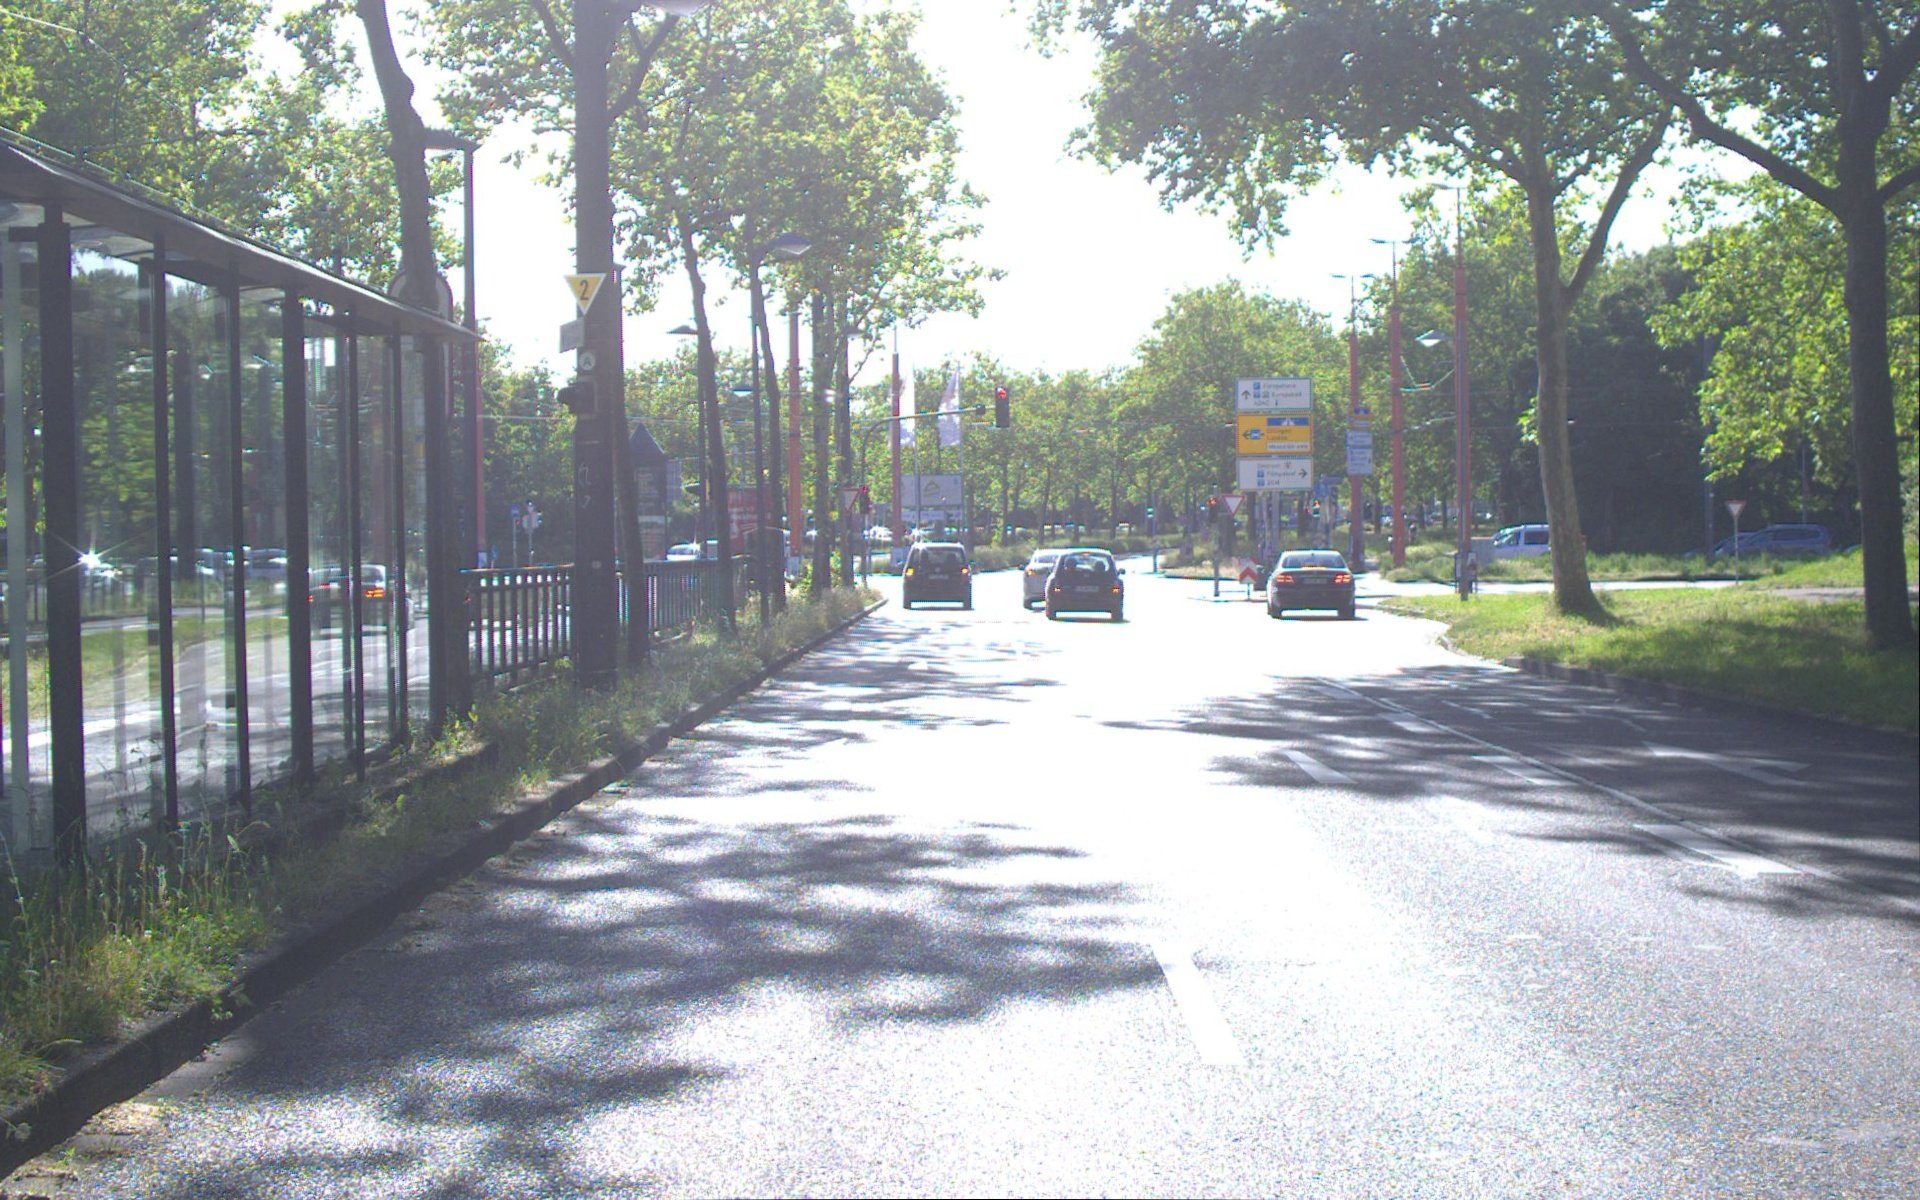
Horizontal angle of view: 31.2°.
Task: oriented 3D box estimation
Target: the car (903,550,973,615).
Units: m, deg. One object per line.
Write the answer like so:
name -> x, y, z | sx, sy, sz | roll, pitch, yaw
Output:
car -> -0.580, -0.451, 86.343 | 1.710, 1.598, 3.350 | 0, 1, -1

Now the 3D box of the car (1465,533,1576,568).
car -> 22.158, -1.947, 135.882 | 3.992, 1.333, 1.726 | 1, 1, 26

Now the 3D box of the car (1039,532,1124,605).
car -> 2.618, -0.706, 74.747 | 1.639, 1.489, 3.504 | 1, 2, -1

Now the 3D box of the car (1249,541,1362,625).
car -> 7.609, -0.397, 76.110 | 1.982, 1.786, 4.614 | 0, 1, 0

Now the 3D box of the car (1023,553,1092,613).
car -> 2.454, -0.440, 86.961 | 1.678, 1.470, 4.130 | 0, 1, 1

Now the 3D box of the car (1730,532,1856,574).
car -> 31.740, -1.779, 130.961 | 4.357, 1.553, 1.870 | 1, 1, 25
